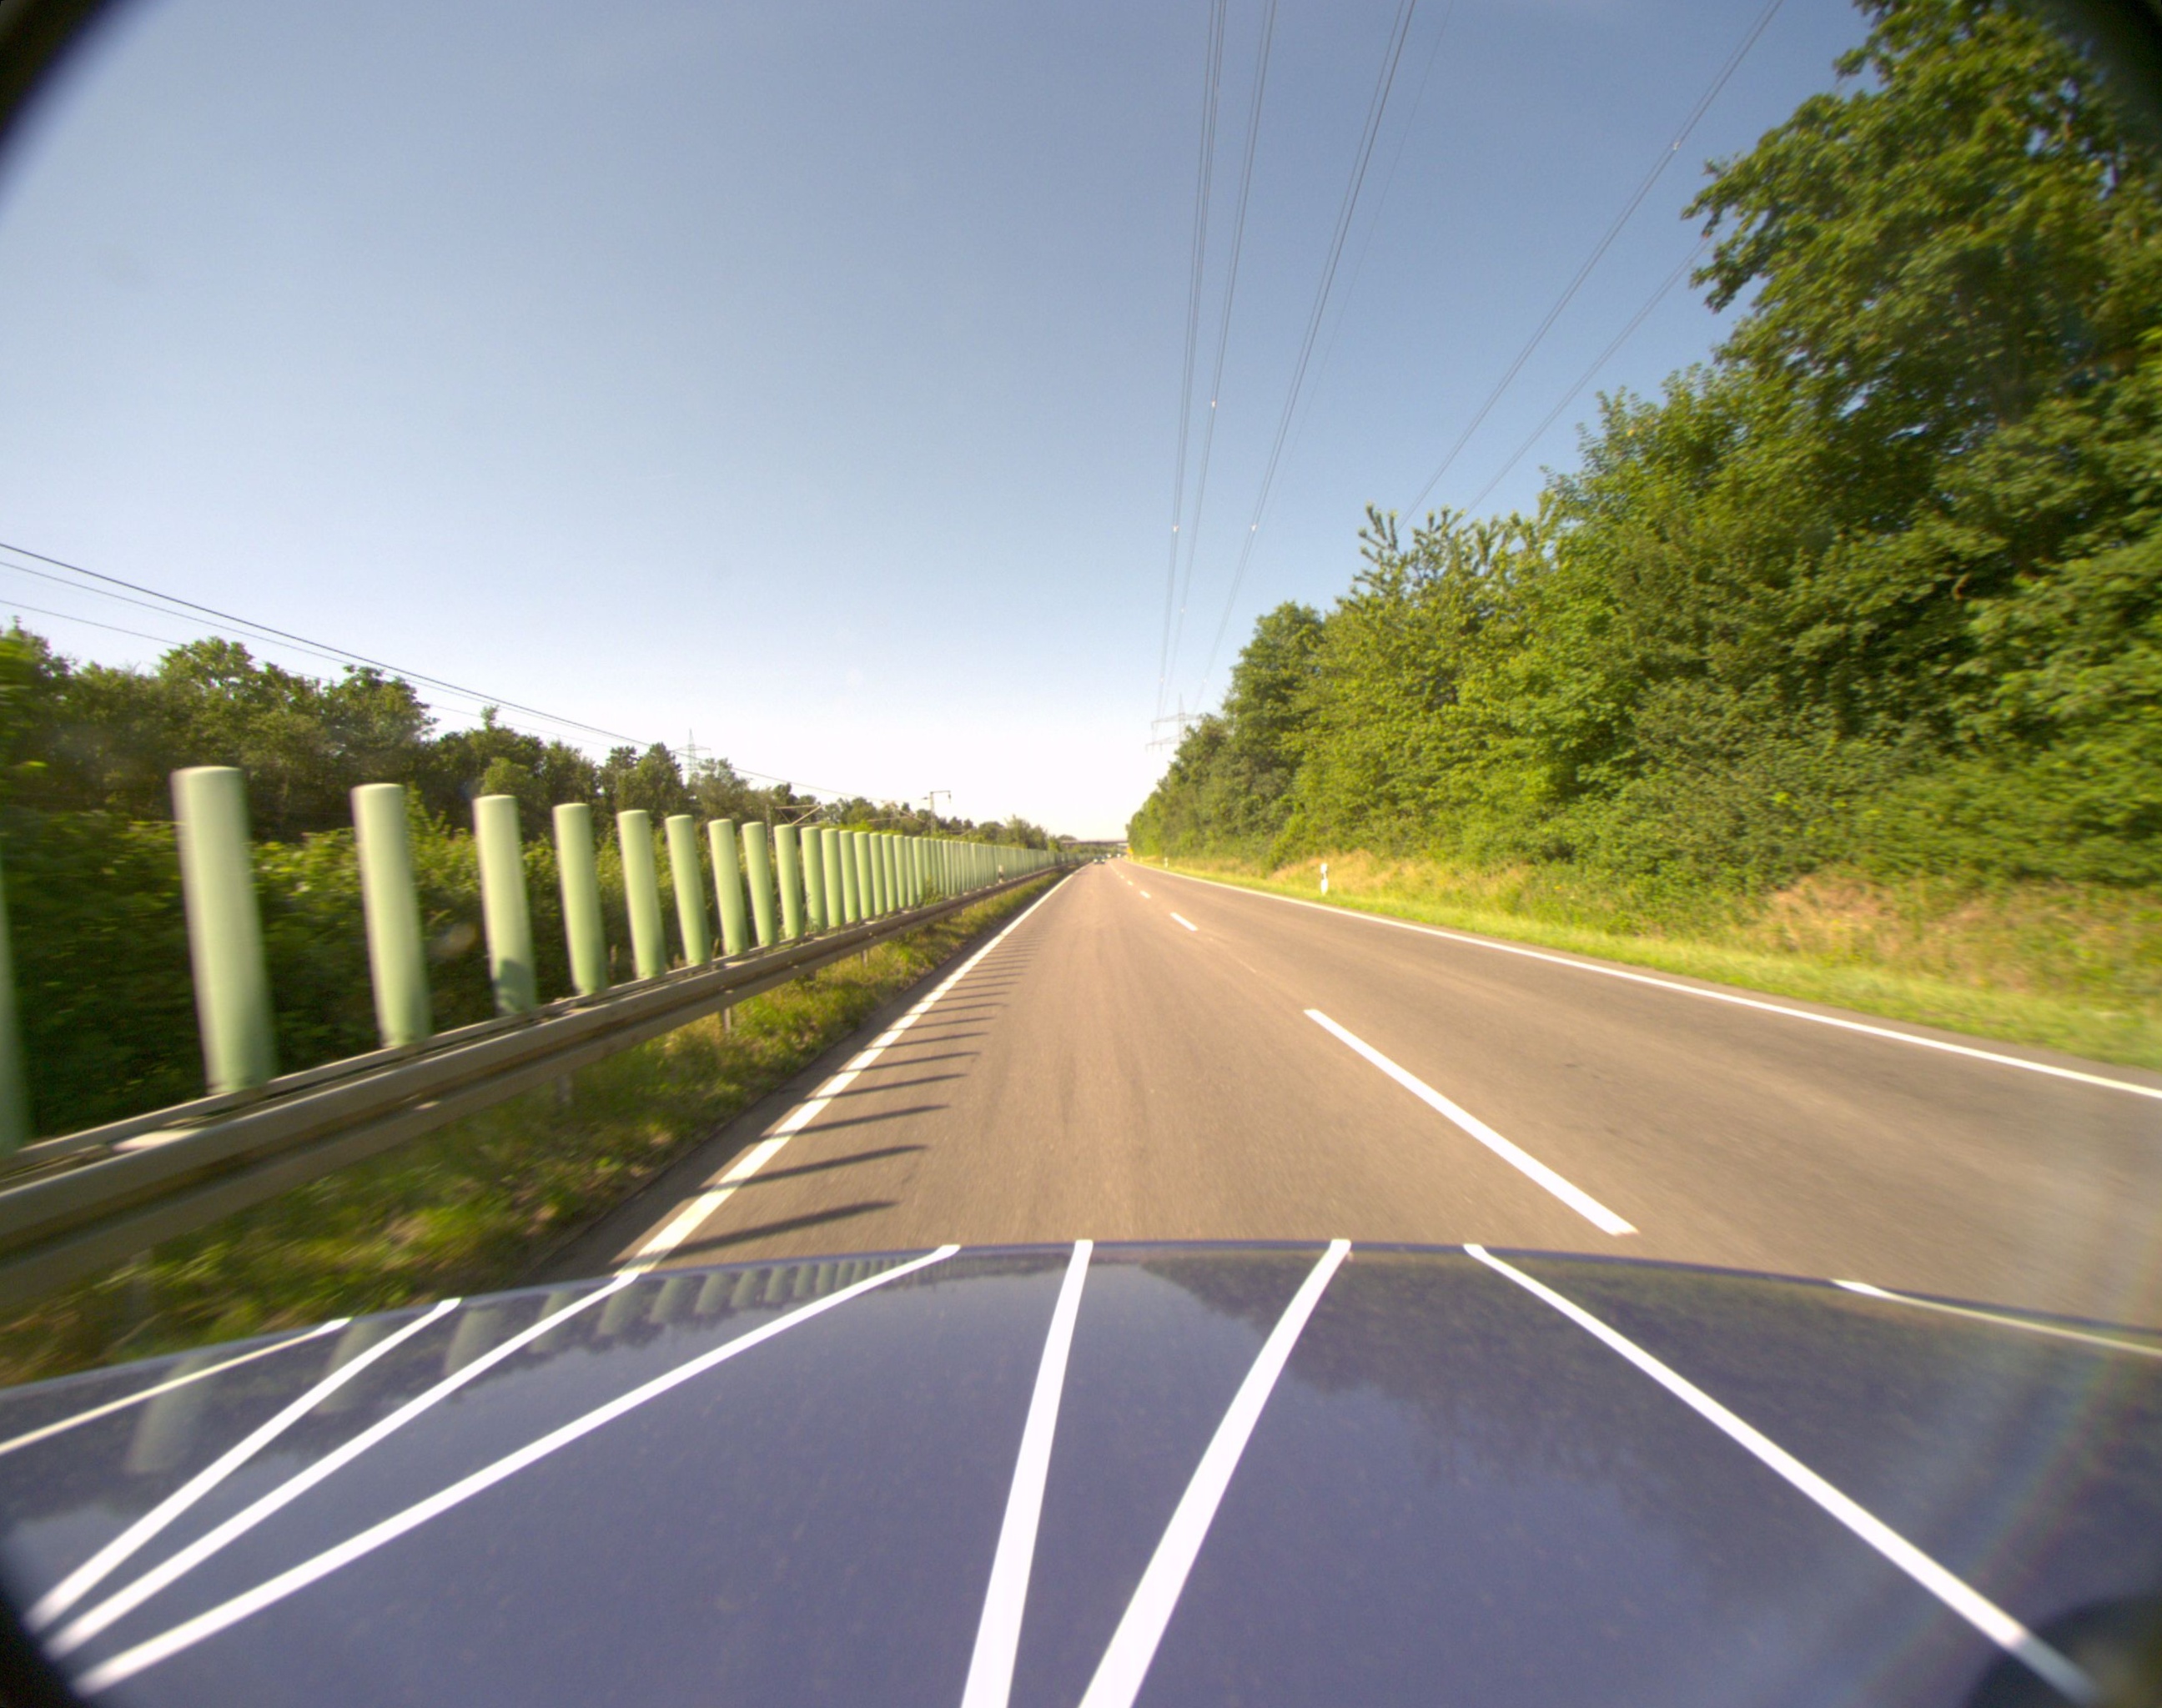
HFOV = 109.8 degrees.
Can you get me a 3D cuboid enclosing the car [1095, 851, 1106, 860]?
[{"bbox_3d":[3.325,0.222,128.420,1.787,1.550,4.000,-2,0,2],"label":"car"}]
